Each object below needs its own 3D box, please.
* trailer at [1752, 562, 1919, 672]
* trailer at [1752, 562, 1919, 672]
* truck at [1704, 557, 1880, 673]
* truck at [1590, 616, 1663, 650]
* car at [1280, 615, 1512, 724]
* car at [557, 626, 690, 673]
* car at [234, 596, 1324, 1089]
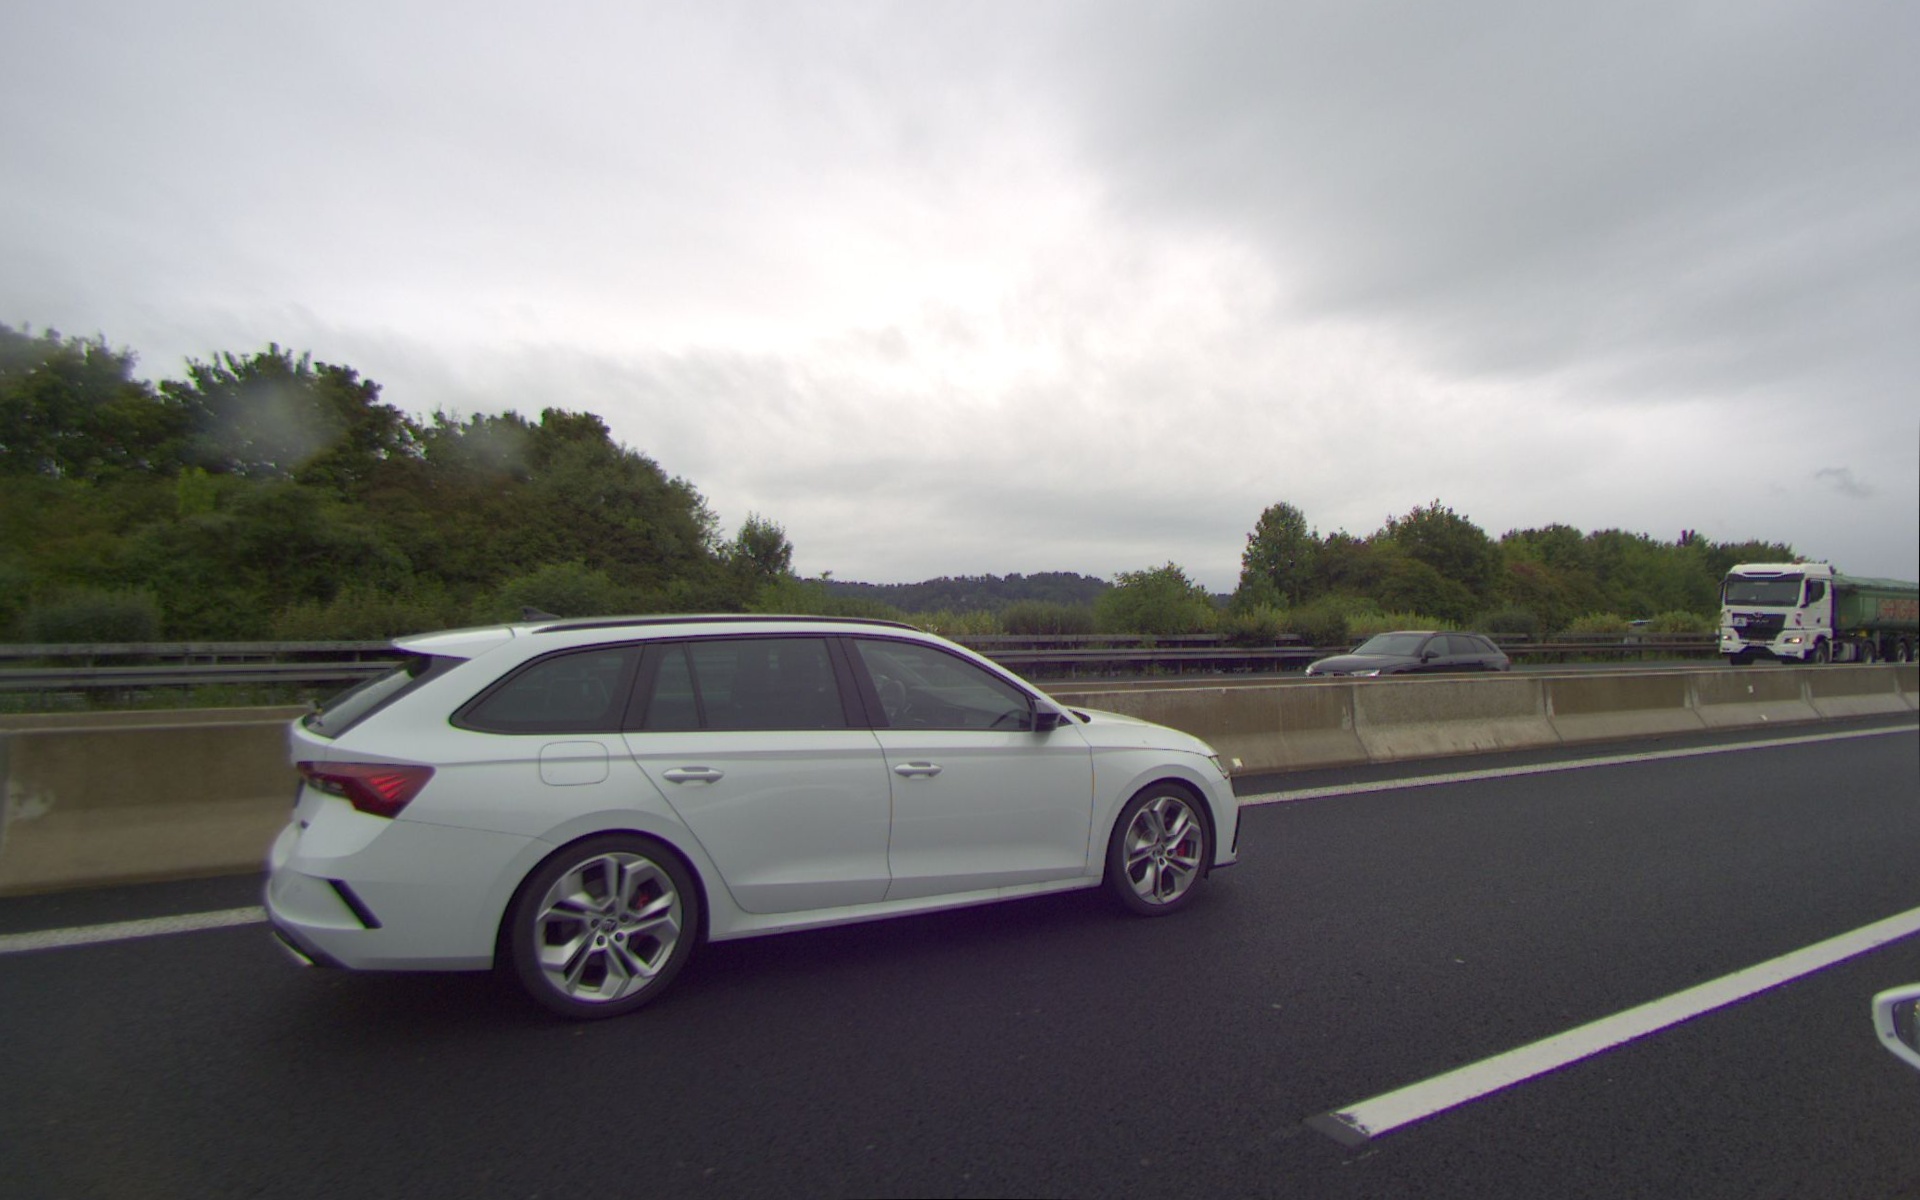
[{"bbox_3d":[33.799,0.719,37.955,8.817,3.798,2.891,2,-1,-29],"label":"trailer"},{"bbox_3d":[33.799,0.719,37.955,8.817,3.798,2.891,2,-1,-29],"label":"trailer"},{"bbox_3d":[29.506,0.596,35.602,5.871,3.798,2.875,2,-1,-29],"label":"truck"},{"bbox_3d":[46.751,2.297,70.410,6.094,2.271,2.013,1,-2,-33],"label":"truck"},{"bbox_3d":[8.558,1.292,19.637,4.489,1.900,1.886,2,-1,-30],"label":"car"},{"bbox_3d":[-11.231,1.644,33.607,3.953,1.461,1.696,2,-1,-30],"label":"car"},{"bbox_3d":[-0.546,0.797,4.985,4.720,1.475,1.810,2,-1,-30],"label":"car"}]
